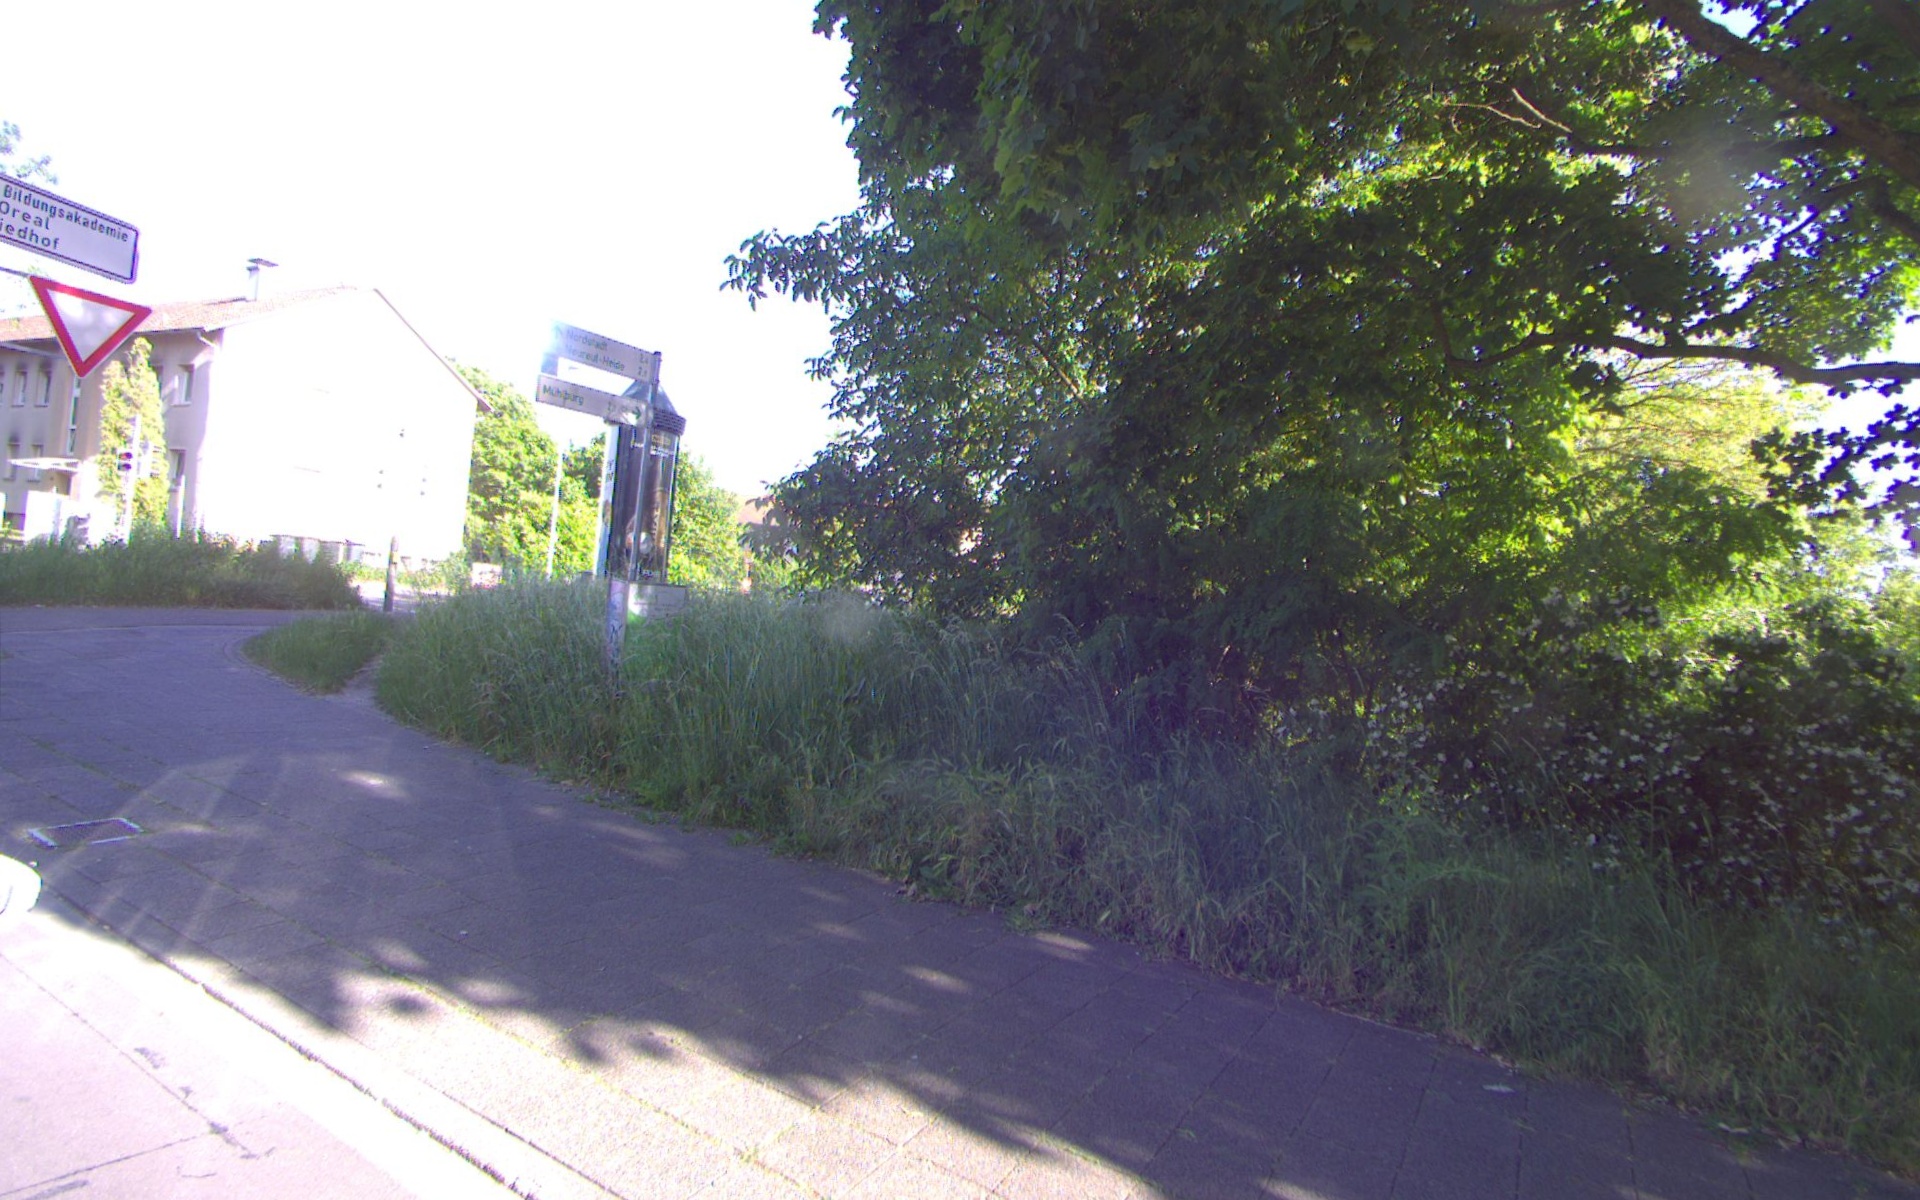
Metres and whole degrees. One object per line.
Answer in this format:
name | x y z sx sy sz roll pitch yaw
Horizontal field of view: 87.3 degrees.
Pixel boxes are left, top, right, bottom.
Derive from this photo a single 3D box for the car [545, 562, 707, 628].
car | -9.774 -0.096 29.764 1.881 1.507 4.290 7 0 29
